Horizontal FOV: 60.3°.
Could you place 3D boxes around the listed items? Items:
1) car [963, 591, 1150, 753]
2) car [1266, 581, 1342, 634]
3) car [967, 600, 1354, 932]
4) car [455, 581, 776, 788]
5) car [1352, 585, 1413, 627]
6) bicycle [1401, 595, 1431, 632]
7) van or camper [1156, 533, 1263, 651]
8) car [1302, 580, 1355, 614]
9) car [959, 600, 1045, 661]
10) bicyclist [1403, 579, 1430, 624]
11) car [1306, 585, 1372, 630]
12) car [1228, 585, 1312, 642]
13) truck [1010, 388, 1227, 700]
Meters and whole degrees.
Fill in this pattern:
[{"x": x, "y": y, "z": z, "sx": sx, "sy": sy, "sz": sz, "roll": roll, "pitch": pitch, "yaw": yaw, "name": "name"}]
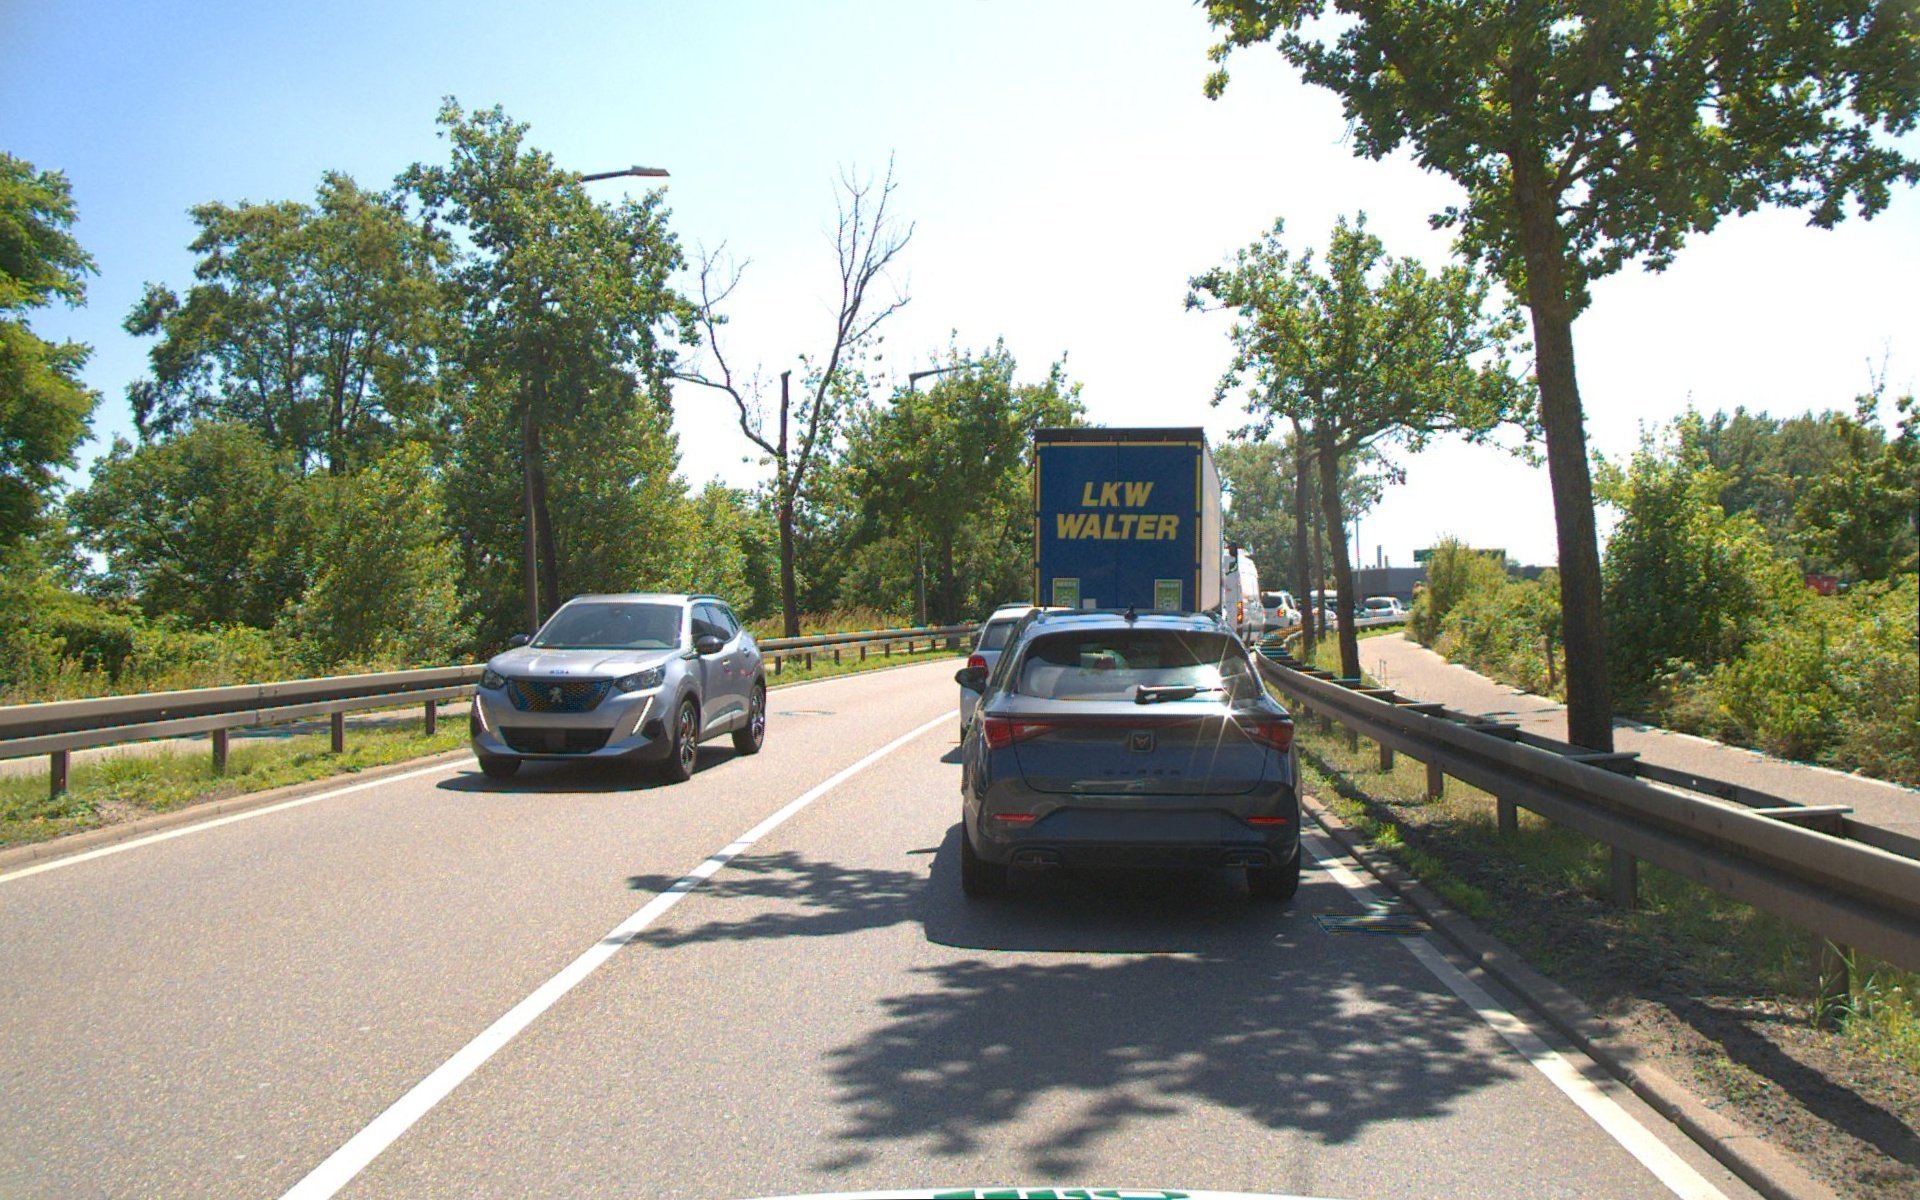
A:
[{"x": 0.975, "y": 0.691, "z": 17.800, "sx": 1.772, "sy": 1.534, "sz": 4.001, "roll": 0, "pitch": 0, "yaw": 2, "name": "car"}, {"x": 12.592, "y": 0.261, "z": 60.356, "sx": 1.952, "sy": 1.840, "sz": 4.845, "roll": 0, "pitch": 0, "yaw": 21, "name": "car"}, {"x": 0.930, "y": 0.738, "z": 9.289, "sx": 1.708, "sy": 1.457, "sz": 3.880, "roll": 0, "pitch": 0, "yaw": 1, "name": "car"}, {"x": -2.906, "y": 0.657, "z": 14.889, "sx": 1.712, "sy": 1.583, "sz": 4.129, "roll": 0, "pitch": 0, "yaw": 5, "name": "car"}, {"x": 19.066, "y": 0.280, "z": 74.527, "sx": 1.953, "sy": 1.799, "sz": 4.753, "roll": 0, "pitch": 0, "yaw": 23, "name": "car"}, {"x": 15.861, "y": 0.455, "z": 57.464, "sx": 0.842, "sy": 1.258, "sz": 2.310, "roll": 0, "pitch": 0, "yaw": 19, "name": "bicycle"}, {"x": 7.029, "y": -0.201, "z": 46.031, "sx": 2.414, "sy": 3.051, "sz": 6.091, "roll": 0, "pitch": 0, "yaw": 14, "name": "van or camper"}, {"x": 17.855, "y": -0.128, "z": 80.097, "sx": 1.714, "sy": 1.583, "sz": 4.124, "roll": 0, "pitch": 0, "yaw": 24, "name": "car"}, {"x": 1.073, "y": 0.707, "z": 40.406, "sx": 1.523, "sy": 1.396, "sz": 3.892, "roll": 0, "pitch": 0, "yaw": 10, "name": "car"}, {"x": 15.861, "y": 0.053, "z": 57.396, "sx": 0.842, "sy": 1.550, "sz": 0.980, "roll": 0, "pitch": 0, "yaw": 19, "name": "bicyclist"}, {"x": 15.422, "y": 0.312, "z": 67.137, "sx": 1.952, "sy": 1.747, "sz": 4.868, "roll": 0, "pitch": 0, "yaw": 21, "name": "car"}, {"x": 10.165, "y": 0.426, "z": 54.014, "sx": 1.952, "sy": 1.742, "sz": 4.621, "roll": 0, "pitch": 0, "yaw": 20, "name": "car"}, {"x": 3.649, "y": -0.795, "z": 32.508, "sx": 2.887, "sy": 4.526, "sz": 16.812, "roll": 0, "pitch": 0, "yaw": 10, "name": "truck"}]
